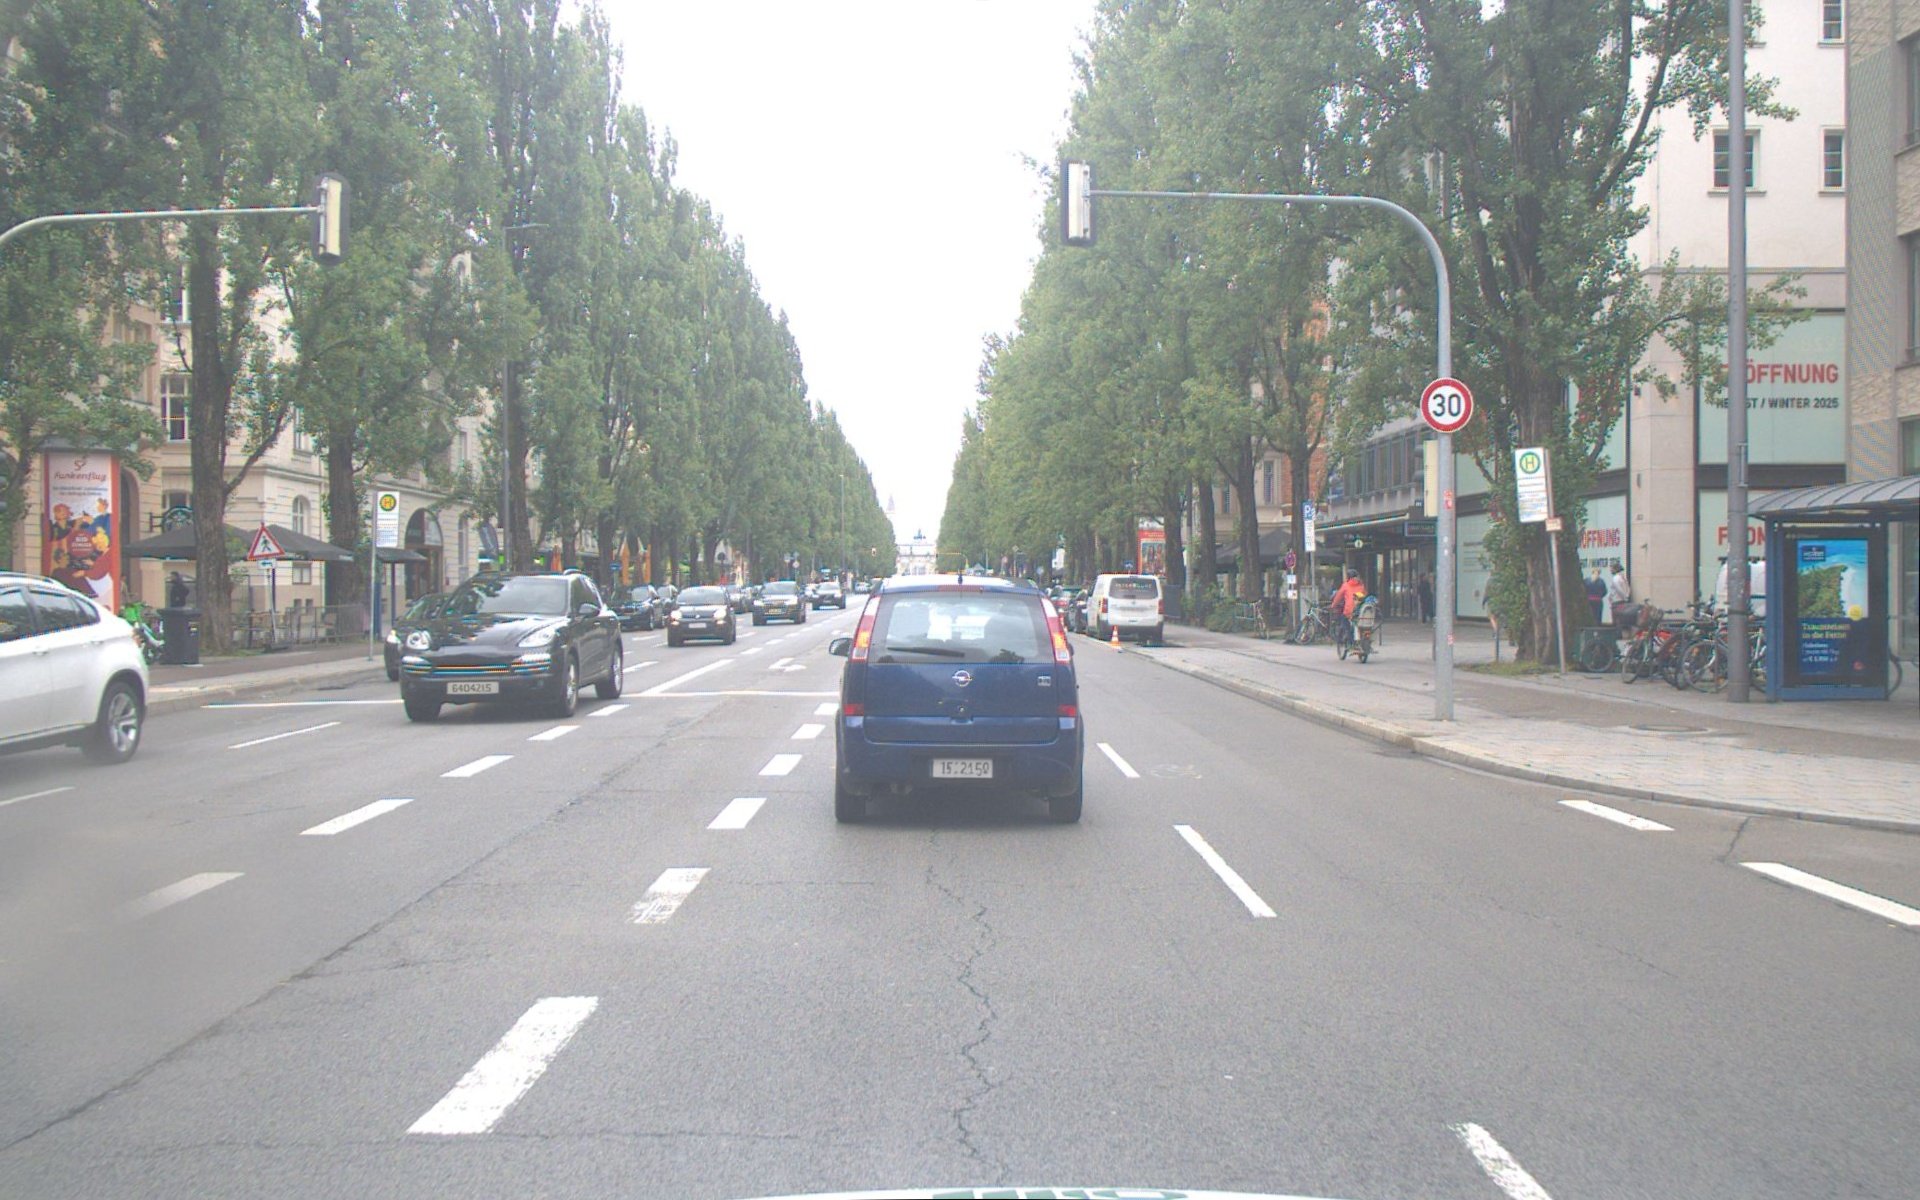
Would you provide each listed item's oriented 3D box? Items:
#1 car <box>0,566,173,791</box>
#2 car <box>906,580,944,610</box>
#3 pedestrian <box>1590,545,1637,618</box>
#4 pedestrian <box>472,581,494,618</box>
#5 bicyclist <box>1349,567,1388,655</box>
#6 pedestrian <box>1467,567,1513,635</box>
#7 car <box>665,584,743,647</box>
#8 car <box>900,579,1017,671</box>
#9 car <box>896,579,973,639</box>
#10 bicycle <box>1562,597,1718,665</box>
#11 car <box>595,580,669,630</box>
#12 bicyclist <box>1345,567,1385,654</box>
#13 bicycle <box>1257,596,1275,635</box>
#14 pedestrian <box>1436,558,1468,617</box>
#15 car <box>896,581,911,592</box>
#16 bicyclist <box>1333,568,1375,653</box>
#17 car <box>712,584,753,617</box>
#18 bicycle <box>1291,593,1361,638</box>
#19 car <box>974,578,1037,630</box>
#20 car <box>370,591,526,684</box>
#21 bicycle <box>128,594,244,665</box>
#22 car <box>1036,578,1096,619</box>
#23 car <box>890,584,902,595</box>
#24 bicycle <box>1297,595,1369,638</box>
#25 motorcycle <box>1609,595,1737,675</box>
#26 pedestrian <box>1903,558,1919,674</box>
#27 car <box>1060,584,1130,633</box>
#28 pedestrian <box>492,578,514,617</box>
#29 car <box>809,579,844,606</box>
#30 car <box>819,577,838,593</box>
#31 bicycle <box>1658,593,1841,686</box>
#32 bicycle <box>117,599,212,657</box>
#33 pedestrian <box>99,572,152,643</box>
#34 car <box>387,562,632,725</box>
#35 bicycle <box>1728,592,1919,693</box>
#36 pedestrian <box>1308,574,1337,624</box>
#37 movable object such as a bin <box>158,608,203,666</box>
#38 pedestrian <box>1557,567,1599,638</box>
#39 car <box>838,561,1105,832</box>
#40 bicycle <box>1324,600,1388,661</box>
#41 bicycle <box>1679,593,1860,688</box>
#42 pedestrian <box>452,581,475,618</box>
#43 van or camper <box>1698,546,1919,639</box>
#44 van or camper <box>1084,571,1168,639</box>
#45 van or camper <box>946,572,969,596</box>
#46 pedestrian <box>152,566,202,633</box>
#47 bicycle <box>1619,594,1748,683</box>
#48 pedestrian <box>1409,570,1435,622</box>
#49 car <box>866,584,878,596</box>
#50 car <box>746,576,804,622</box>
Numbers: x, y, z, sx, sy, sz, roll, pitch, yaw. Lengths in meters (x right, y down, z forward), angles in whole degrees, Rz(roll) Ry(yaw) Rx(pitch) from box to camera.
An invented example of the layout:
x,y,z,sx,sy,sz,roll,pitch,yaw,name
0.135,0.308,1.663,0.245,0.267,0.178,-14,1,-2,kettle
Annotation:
x,y,z,sx,sy,sz,roll,pitch,yaw,name
-8.364,0.622,13.389,1.800,1.746,4.635,-1,1,-1,car
-1.896,-0.282,88.537,1.953,1.523,3.998,0,1,-2,car
15.817,-0.446,40.027,0.735,1.748,0.962,0,0,-1,pedestrian
-20.522,-0.017,71.173,0.753,1.564,0.804,0,0,-2,pedestrian
7.647,0.201,30.945,0.609,1.616,0.391,-1,0,-2,bicyclist
13.460,0.010,42.004,0.810,1.703,0.982,0,1,39,pedestrian
-6.574,0.360,42.758,1.530,1.522,3.693,-1,1,-2,car
-0.098,0.400,29.796,1.953,1.523,3.998,0,1,-2,car
-0.723,0.200,44.333,1.953,1.523,3.998,0,1,-2,car
10.691,0.479,26.032,2.105,1.035,0.874,0,1,-2,bicycle
-11.977,0.151,60.736,1.783,1.646,4.716,0,2,0,car
7.635,0.200,31.212,0.609,1.616,0.481,-1,0,-2,bicyclist
8.681,0.423,46.940,0.357,1.056,1.732,0,1,6,bicycle
15.851,-0.401,53.273,0.852,1.861,0.835,0,1,26,pedestrian
-7.084,-1.696,207.826,1.922,1.424,3.777,-1,1,-2,car
7.605,0.196,31.964,0.609,1.616,0.753,-1,0,-2,bicyclist
-12.798,-0.001,93.322,1.827,1.683,4.613,-3,1,-3,car
9.299,0.390,42.069,1.707,1.130,0.447,0,0,-12,bicycle
1.479,0.099,54.544,1.672,1.601,3.997,-1,1,-4,car
-8.964,0.602,29.275,1.609,1.464,3.996,-1,1,-2,car
-14.723,0.552,31.489,1.939,1.312,0.500,1,0,-45,bicycle
4.129,-0.095,65.106,1.781,1.532,4.228,-1,1,-5,car
-10.067,-1.597,259.210,1.798,1.706,3.777,-1,1,-2,car
9.348,0.400,41.420,1.727,1.062,0.482,0,0,-13,bicycle
10.582,0.510,24.560,1.689,1.159,0.510,0,0,0,motorcycle
14.406,0.230,24.126,0.734,1.706,0.963,-1,1,0,pedestrian
4.388,0.246,54.302,1.685,1.467,4.351,2,1,-3,car
-20.243,-0.112,73.292,0.719,1.702,0.952,0,0,-2,pedestrian
-8.142,-0.468,101.155,1.896,1.651,4.335,0,1,-2,car
-14.830,-1.688,186.936,1.953,1.691,3.998,-1,1,-2,car
11.085,0.543,23.248,2.296,1.274,0.633,0,0,-2,bicycle
-15.631,0.537,32.534,0.496,1.107,1.809,1,0,22,bicycle
-21.218,0.183,42.055,0.826,1.774,0.954,1,0,-1,pedestrian
-5.380,0.443,20.360,1.846,1.777,4.438,0,1,-1,car
11.179,0.531,21.455,2.194,1.274,0.477,0,1,23,bicycle
13.607,-0.050,62.103,0.809,1.873,1.099,0,0,-1,pedestrian
-14.877,0.700,31.562,0.714,1.059,0.847,1,0,-30,movable object such as a bin
14.948,0.064,39.997,0.639,1.692,0.962,0,0,-1,pedestrian
-0.007,0.575,12.245,1.647,1.669,3.998,0,1,-2,car
7.613,0.565,31.886,0.614,1.105,2.263,-1,1,-2,bicycle
11.066,0.551,22.624,2.268,1.274,0.477,0,0,-2,bicycle
-21.398,-0.028,71.250,0.753,1.564,0.804,0,0,-2,pedestrian
18.618,-0.162,36.240,4.019,1.899,1.899,1,0,2,van or camper
4.849,0.106,48.928,1.831,1.916,4.901,0,1,-2,van or camper
-0.340,-1.806,185.299,2.426,2.626,5.843,-1,1,-1,van or camper
-21.086,-0.017,44.553,0.887,1.774,0.820,1,0,4,pedestrian
10.481,0.545,23.979,1.689,1.261,0.449,0,0,0,bicycle
15.103,-0.144,54.080,0.656,1.637,0.772,-2,1,6,pedestrian
-13.957,-1.572,261.515,1.798,1.769,3.777,-1,1,-2,car
-7.261,-0.064,65.179,1.874,1.710,4.585,0,1,-2,car
